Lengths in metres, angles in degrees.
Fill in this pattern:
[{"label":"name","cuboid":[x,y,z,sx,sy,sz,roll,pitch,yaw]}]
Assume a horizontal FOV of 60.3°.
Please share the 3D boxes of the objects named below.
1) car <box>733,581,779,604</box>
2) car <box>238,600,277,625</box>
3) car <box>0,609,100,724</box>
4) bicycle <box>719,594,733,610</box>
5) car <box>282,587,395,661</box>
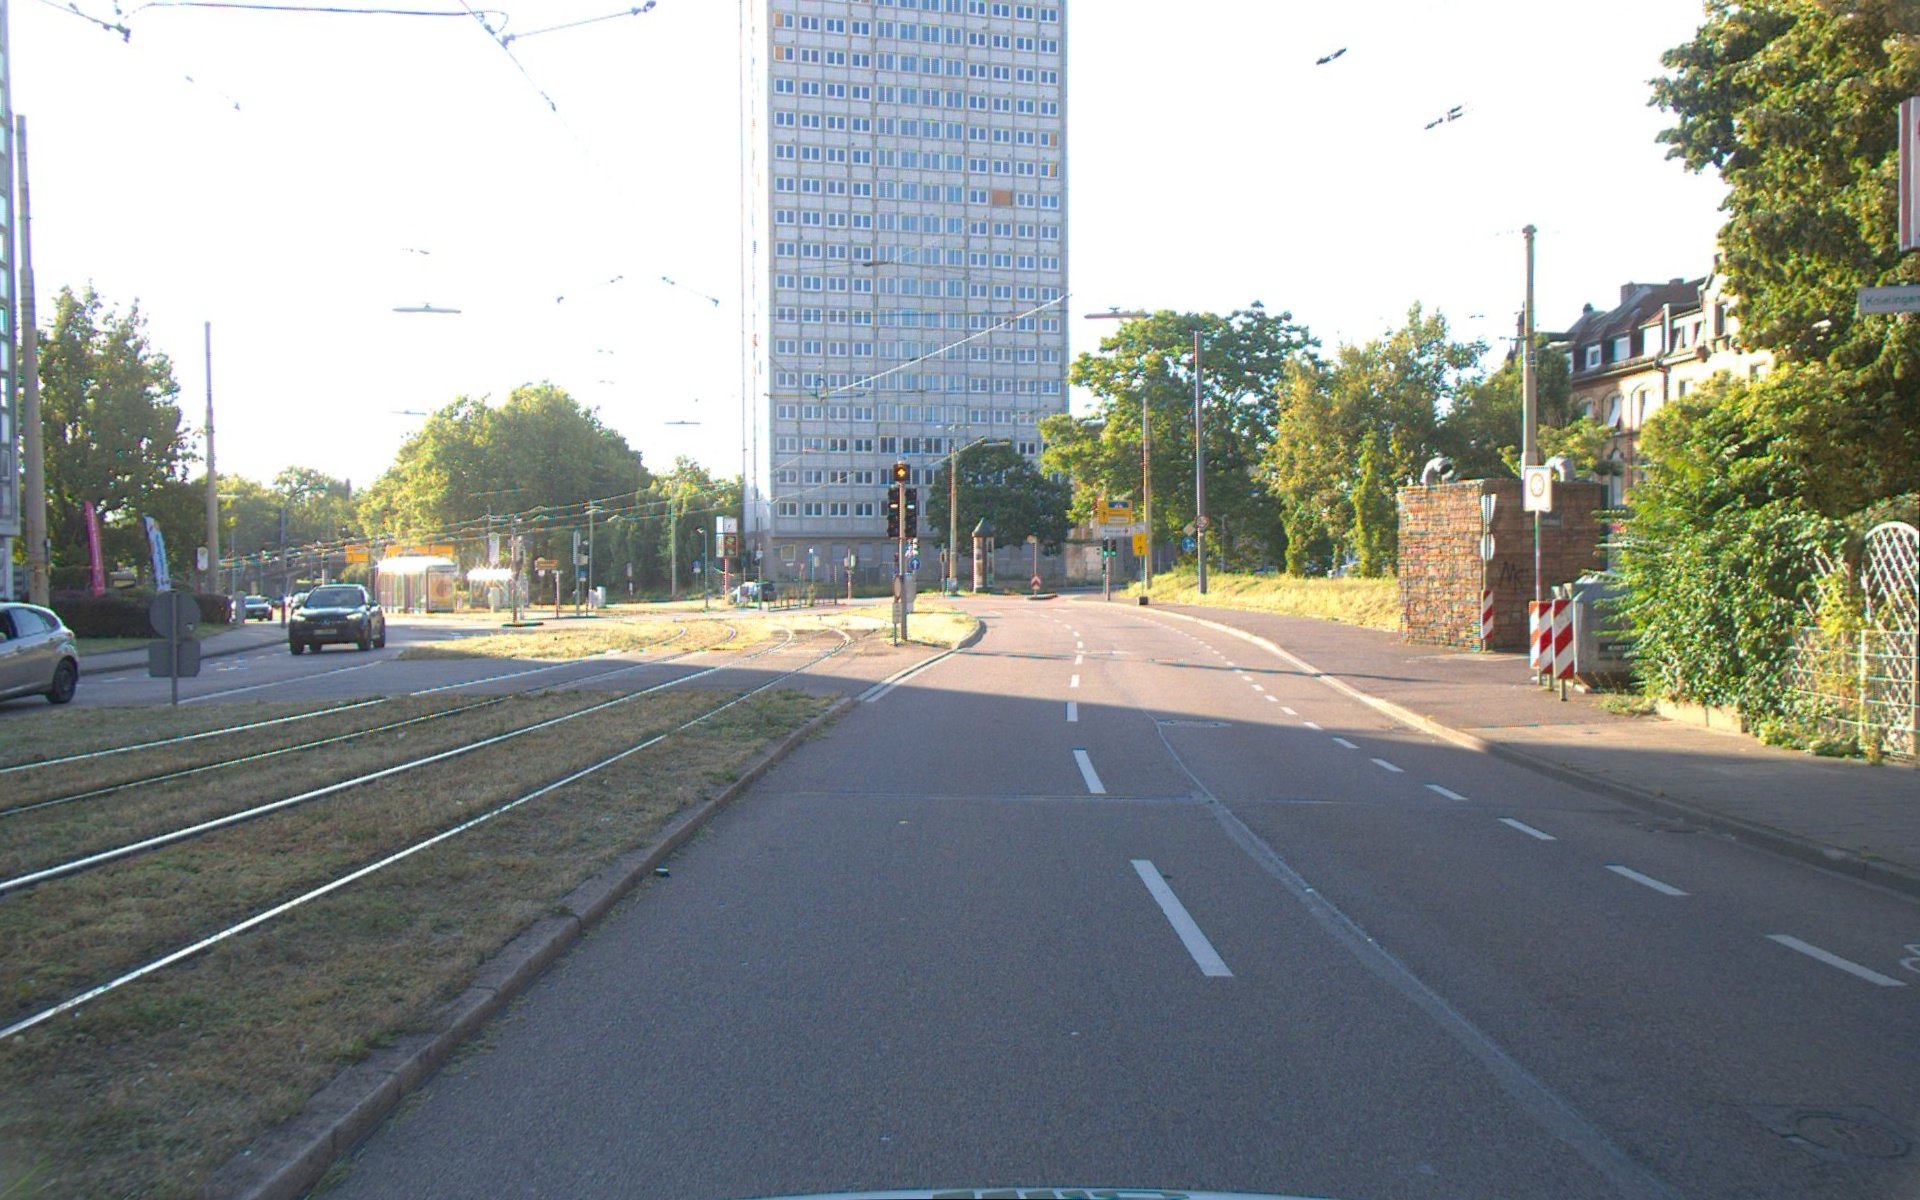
[{"label":"car","cuboid":[-13.688,-0.512,110.751,1.753,1.447,3.819,-2,1,-28]},{"label":"car","cuboid":[-41.306,0.712,97.230,1.531,1.363,3.553,-2,1,-32]},{"label":"car","cuboid":[-13.465,0.913,22.308,1.664,1.485,4.312,-3,0,-4]},{"label":"bicycle","cuboid":[-14.401,0.127,101.827,0.542,0.933,1.744,-3,1,2]},{"label":"car","cuboid":[-16.015,0.563,42.856,1.884,1.690,4.697,-2,1,-11]}]
